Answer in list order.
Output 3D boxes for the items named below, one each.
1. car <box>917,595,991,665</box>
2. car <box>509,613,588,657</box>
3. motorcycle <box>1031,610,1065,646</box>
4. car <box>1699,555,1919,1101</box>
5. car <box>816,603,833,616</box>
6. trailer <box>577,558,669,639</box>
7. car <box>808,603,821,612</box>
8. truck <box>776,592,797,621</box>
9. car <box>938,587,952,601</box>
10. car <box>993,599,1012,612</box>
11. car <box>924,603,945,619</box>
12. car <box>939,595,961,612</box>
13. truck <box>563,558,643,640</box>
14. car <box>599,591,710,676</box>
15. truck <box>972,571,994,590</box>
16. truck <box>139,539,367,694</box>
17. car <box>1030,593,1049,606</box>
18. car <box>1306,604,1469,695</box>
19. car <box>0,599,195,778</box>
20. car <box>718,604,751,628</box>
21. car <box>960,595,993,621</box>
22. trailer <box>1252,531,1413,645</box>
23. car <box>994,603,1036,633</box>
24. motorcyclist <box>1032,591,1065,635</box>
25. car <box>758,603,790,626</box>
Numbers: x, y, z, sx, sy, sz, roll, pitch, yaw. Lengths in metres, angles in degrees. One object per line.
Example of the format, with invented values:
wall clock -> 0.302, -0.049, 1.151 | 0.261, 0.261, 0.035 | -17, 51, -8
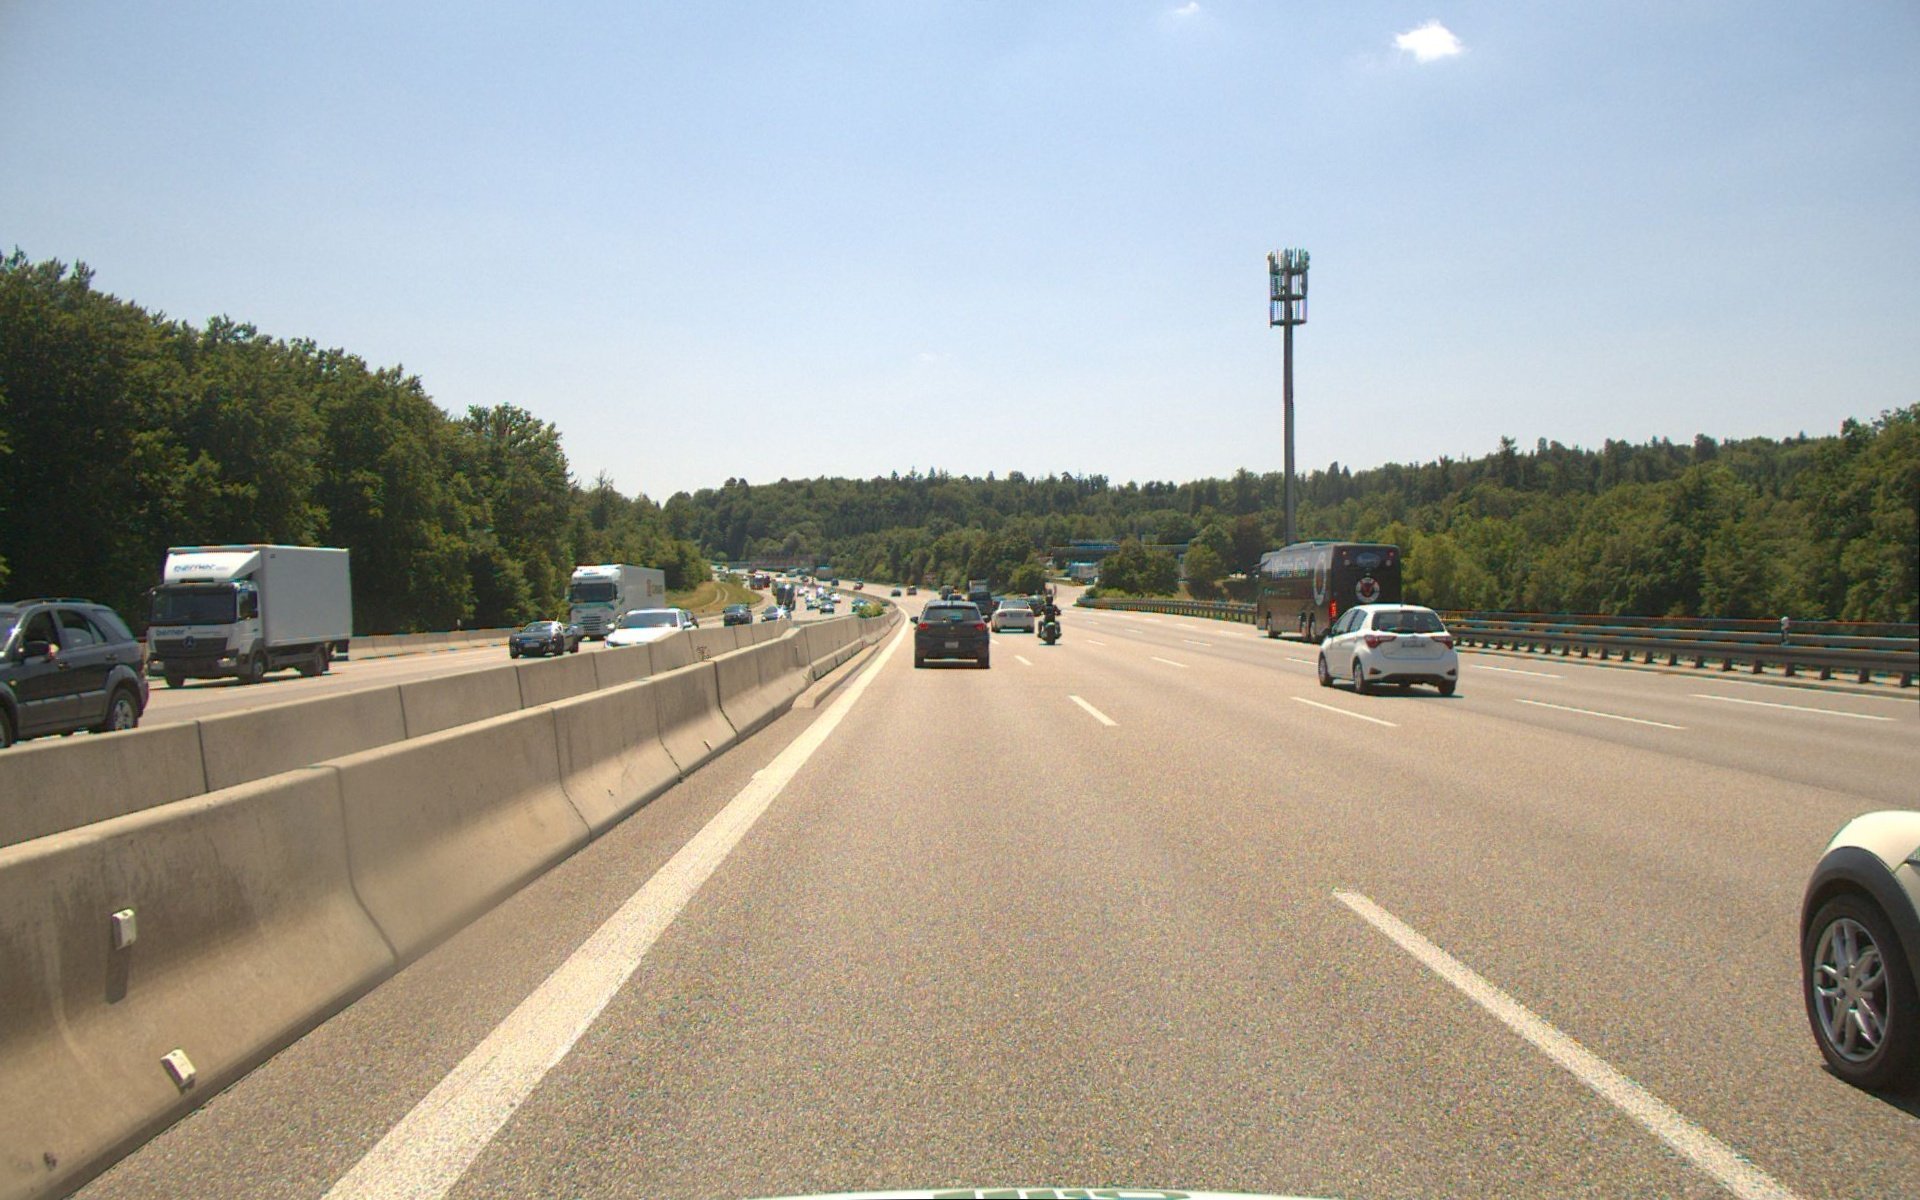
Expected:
car -> -0.153, 0.713, 37.478 | 1.591, 1.513, 3.684 | 0, -2, -1
car -> -14.543, 1.212, 58.681 | 1.761, 1.400, 4.530 | -1, 0, -1
motorcycle -> 2.974, 0.933, 56.042 | 0.957, 1.149, 2.271 | -2, 0, -1
car -> 3.721, 0.694, 4.305 | 1.803, 1.579, 4.001 | -1, 2, 0
car -> -16.215, 1.095, 198.719 | 1.731, 1.504, 4.480 | -2, 0, -1
trailer -> -19.704, -0.082, 97.559 | 2.589, 4.298, 14.358 | -3, 0, -1
car -> -21.663, 1.149, 246.551 | 1.795, 1.324, 4.726 | -1, 0, -3
truck -> -25.701, 0.902, 245.247 | 2.605, 4.096, 5.508 | -2, 0, -2
car -> -2.364, -0.915, 259.205 | 1.955, 2.049, 4.670 | 0, 1, -5
car -> 4.017, 0.509, 156.920 | 1.576, 1.233, 3.458 | -1, 0, -2
car -> -2.164, 0.908, 137.952 | 1.506, 1.233, 3.456 | -1, 0, -5
car -> -1.085, 0.366, 178.099 | 1.955, 1.713, 4.419 | 0, 1, -5
truck -> -19.625, -0.070, 91.377 | 2.660, 4.171, 7.875 | -3, 0, -1
car -> -7.543, 0.761, 41.320 | 1.737, 1.912, 5.211 | 1, 1, 0
truck -> 3.492, -2.931, 251.018 | 2.673, 2.835, 5.677 | 0, 1, -5
truck -> -18.715, 0.385, 44.468 | 2.488, 3.633, 8.574 | -3, 0, -2
car -> 7.964, -0.033, 165.053 | 1.576, 1.233, 3.458 | -1, 0, -2
car -> 7.455, 0.817, 29.243 | 1.632, 1.458, 4.374 | 1, 0, -2
car -> -10.602, 0.927, 18.338 | 1.953, 1.764, 4.923 | -2, 0, -1
car -> -16.667, 1.168, 122.564 | 1.762, 1.671, 5.078 | -3, -1, -1
car -> 1.172, 0.578, 120.707 | 2.056, 1.884, 4.077 | -1, 0, -5
trailer -> 13.741, -0.376, 62.486 | 2.799, 3.752, 13.540 | -1, 0, -1
car -> 2.514, 0.821, 76.455 | 1.746, 1.287, 3.459 | -1, 0, -1
motorcyclist -> 3.005, 0.431, 56.033 | 0.943, 1.463, 1.233 | 1, 0, -5
car -> -12.791, 0.980, 114.087 | 1.761, 1.507, 4.719 | -1, 0, -1
